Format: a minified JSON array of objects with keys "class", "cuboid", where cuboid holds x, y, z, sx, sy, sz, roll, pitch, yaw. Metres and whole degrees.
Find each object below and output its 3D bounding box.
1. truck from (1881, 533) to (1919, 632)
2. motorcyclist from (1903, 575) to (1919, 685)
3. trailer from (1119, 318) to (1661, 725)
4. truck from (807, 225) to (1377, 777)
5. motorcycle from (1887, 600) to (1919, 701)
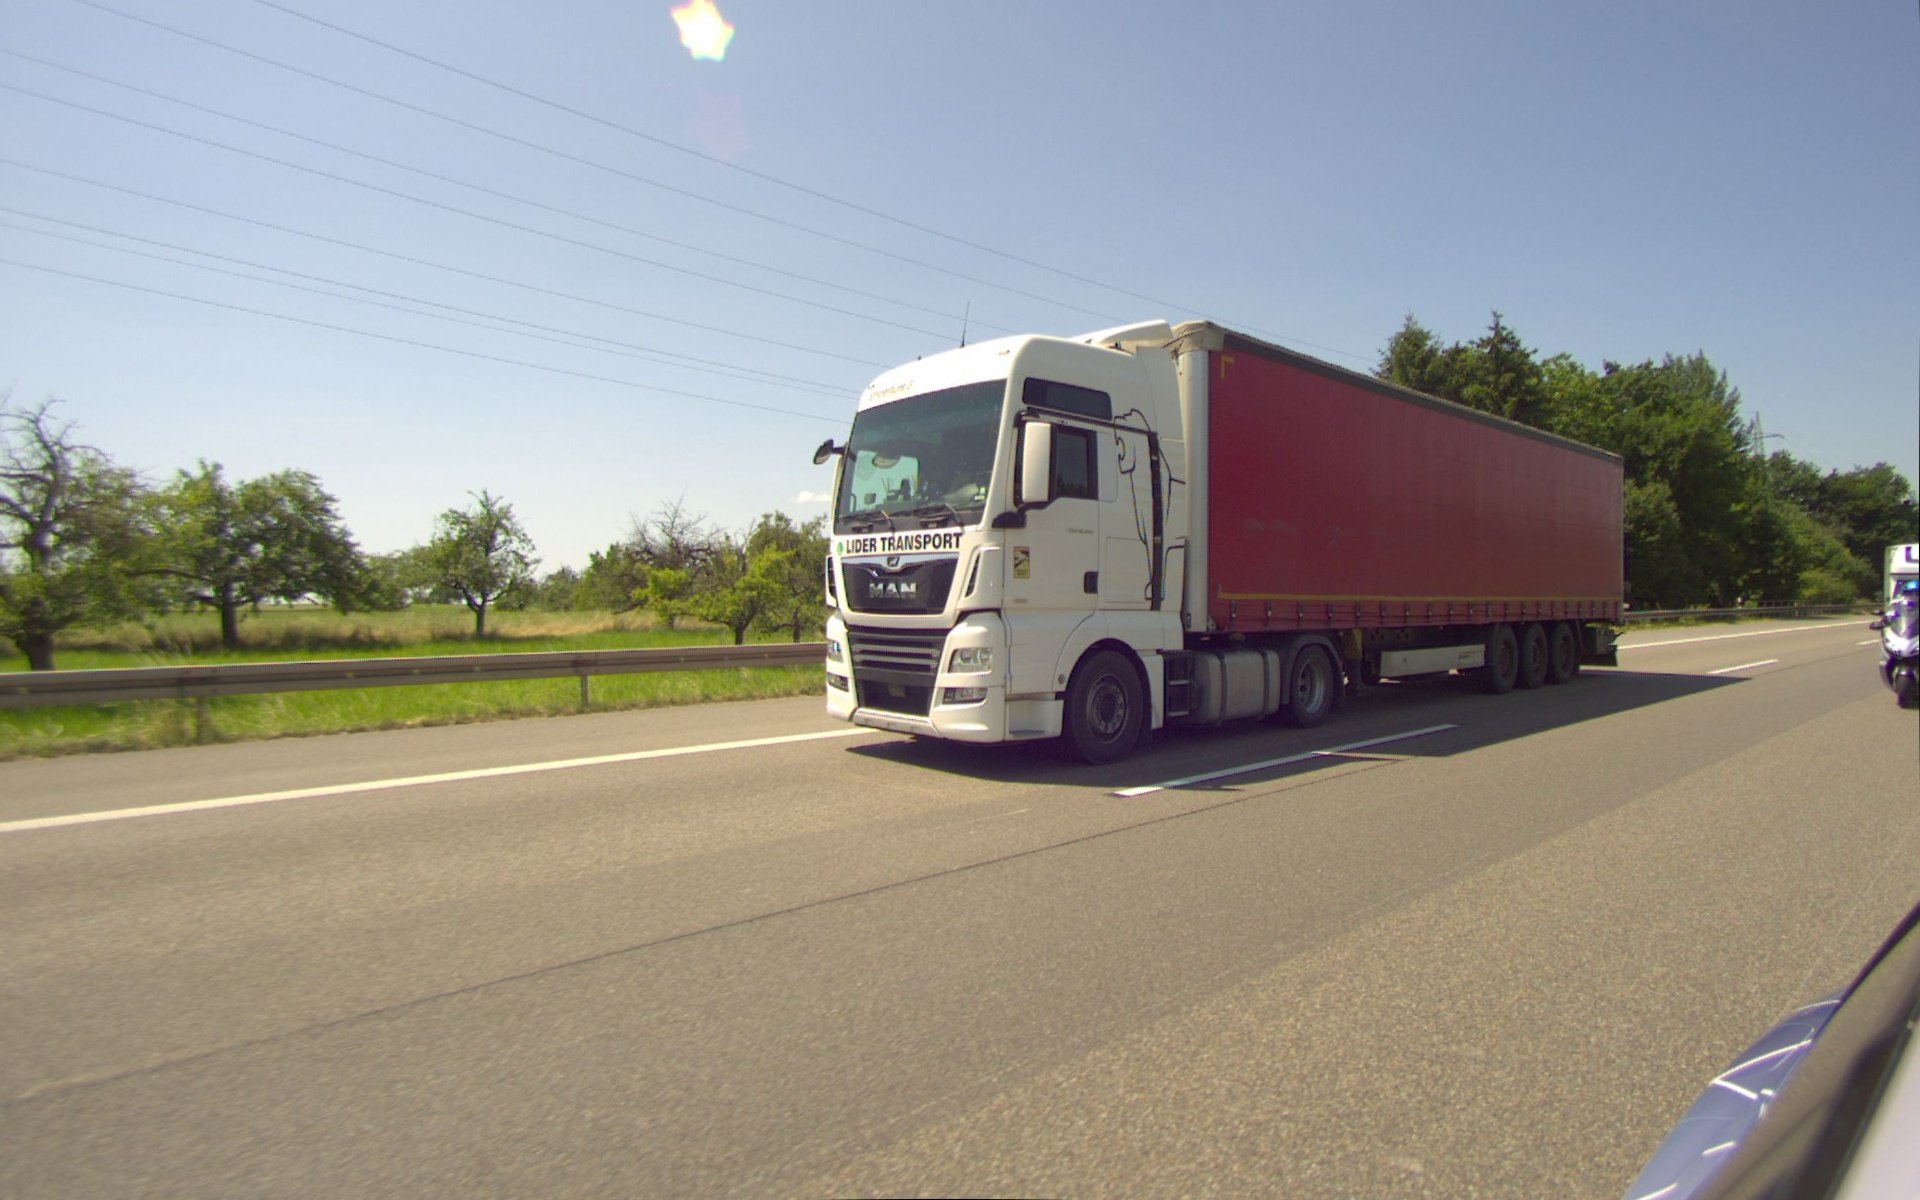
[{"class":"truck","cuboid":[35.286,-0.628,36.265,7.967,3.328,2.510,-1,1,-42]},{"class":"motorcyclist","cuboid":[13.567,0.417,14.062,0.504,1.527,0.613,0,0,-39]},{"class":"trailer","cuboid":[7.650,-0.912,15.964,12.807,4.317,2.605,-1,0,-41]},{"class":"truck","cuboid":[1.688,-0.787,10.707,6.139,4.206,2.565,0,0,-41]},{"class":"motorcycle","cuboid":[13.439,0.661,13.974,2.271,1.303,0.630,0,0,-40]}]
